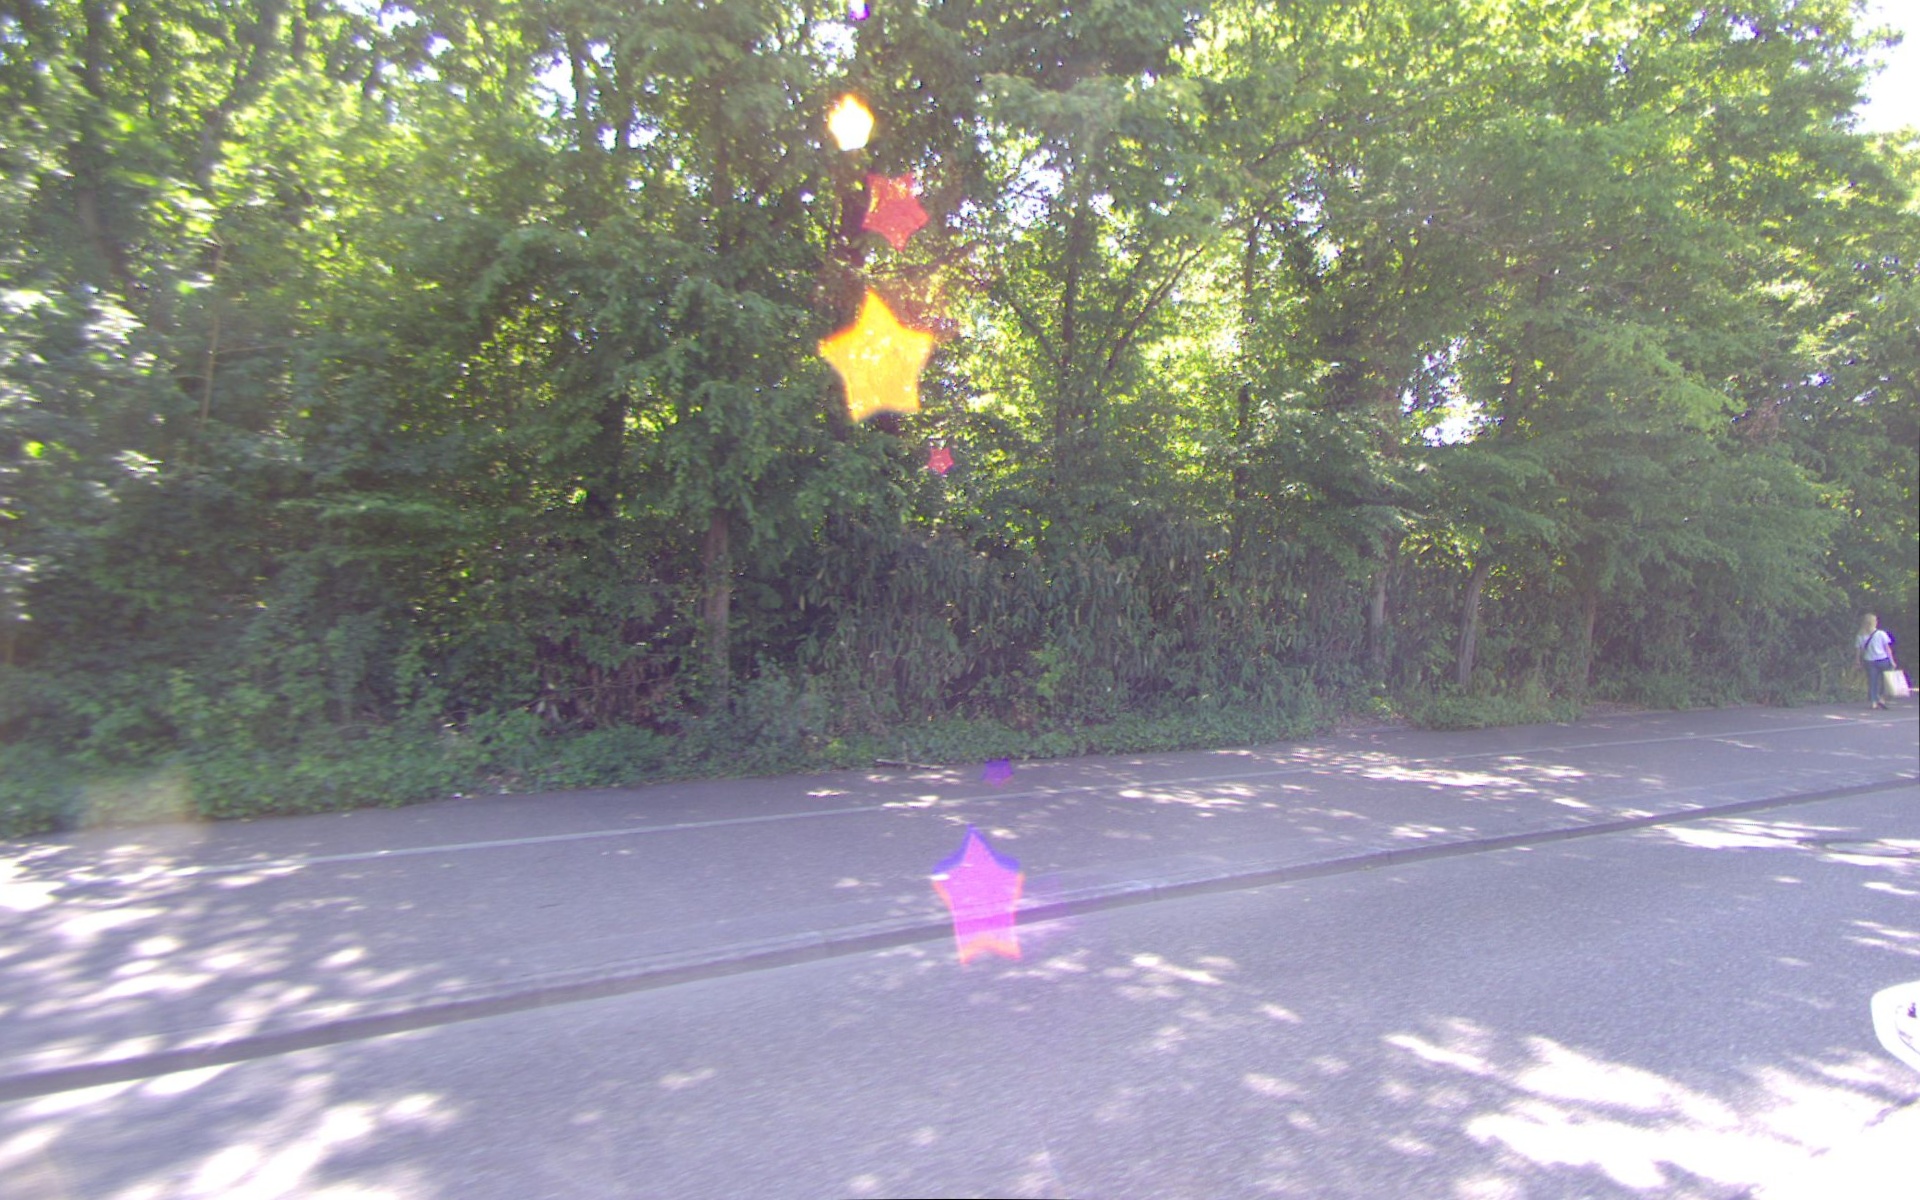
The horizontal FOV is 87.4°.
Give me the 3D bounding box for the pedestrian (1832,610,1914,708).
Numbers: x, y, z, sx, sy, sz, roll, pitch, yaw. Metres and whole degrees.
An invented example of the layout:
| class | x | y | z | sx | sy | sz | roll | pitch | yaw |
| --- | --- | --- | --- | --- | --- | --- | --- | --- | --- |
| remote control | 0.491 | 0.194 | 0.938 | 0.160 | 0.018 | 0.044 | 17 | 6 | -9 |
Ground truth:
| class | x | y | z | sx | sy | sz | roll | pitch | yaw |
| --- | --- | --- | --- | --- | --- | --- | --- | --- | --- |
| pedestrian | 16.067 | 1.018 | 17.687 | 0.774 | 1.644 | 0.824 | 1 | 1 | -29 |
